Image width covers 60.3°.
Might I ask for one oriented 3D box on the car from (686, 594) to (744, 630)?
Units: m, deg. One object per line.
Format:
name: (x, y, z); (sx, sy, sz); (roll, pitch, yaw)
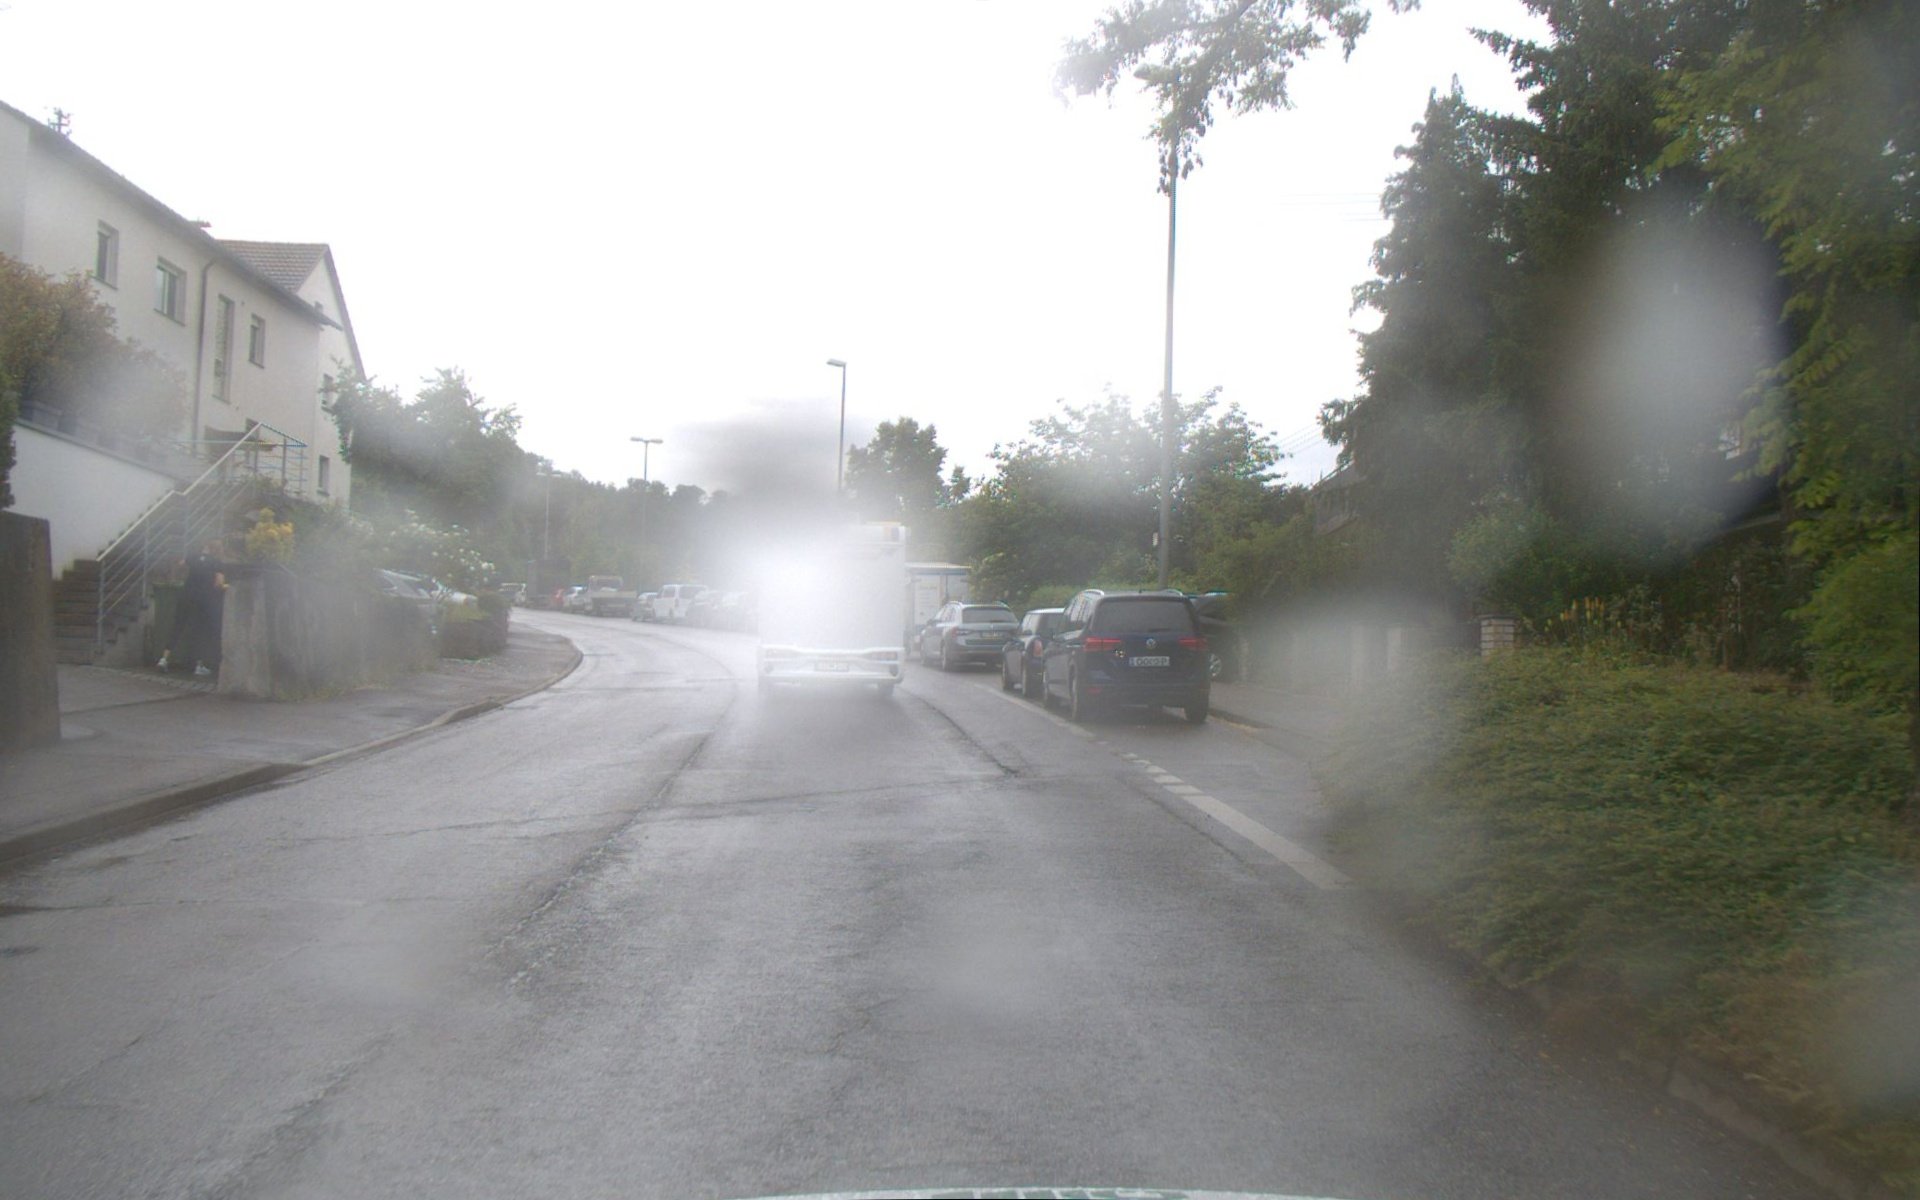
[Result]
car: (-11.090, 0.532, 74.629); (1.621, 1.567, 4.325); (1, 0, -22)

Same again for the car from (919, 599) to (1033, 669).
car: (0.292, 0.730, 37.364); (1.715, 1.449, 4.692); (1, 0, -10)

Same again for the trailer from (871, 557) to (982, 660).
trailer: (-0.967, 0.220, 43.579); (1.914, 2.499, 5.418); (1, 0, -12)

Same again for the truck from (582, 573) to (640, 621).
truck: (-20.478, -0.176, 96.825); (2.208, 2.677, 6.495); (1, 0, -22)

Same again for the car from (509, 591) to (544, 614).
car: (-32.882, 0.184, 125.324); (1.821, 1.713, 5.599); (1, 0, -23)

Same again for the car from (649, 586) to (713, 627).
car: (-13.542, 0.293, 80.063); (1.825, 1.915, 4.871); (1, 0, -25)

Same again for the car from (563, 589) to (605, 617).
car: (-23.437, 0.176, 102.965); (1.736, 1.632, 4.632); (1, 0, -23)

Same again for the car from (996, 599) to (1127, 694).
car: (1.650, 0.749, 27.973); (1.602, 1.482, 3.695); (1, 0, -6)

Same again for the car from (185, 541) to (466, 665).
car: (-11.801, 0.075, 31.056); (4.428, 1.641, 1.928); (8, -2, -9)

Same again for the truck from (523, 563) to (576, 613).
truck: (-29.147, -0.813, 117.193); (2.403, 3.394, 7.909); (1, 0, -23)

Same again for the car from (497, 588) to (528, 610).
car: (-35.755, -0.122, 132.091); (1.909, 1.701, 4.665); (1, 0, -21)

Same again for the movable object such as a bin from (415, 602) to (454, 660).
movable object such as a bin: (-10.653, 0.629, 33.523); (0.528, 1.094, 0.741); (7, -1, -10)

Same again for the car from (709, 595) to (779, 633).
car: (-9.067, 0.571, 69.250); (1.790, 1.533, 4.693); (1, 0, -22)

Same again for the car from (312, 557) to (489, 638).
car: (-15.561, -0.050, 46.163); (4.172, 1.455, 1.765); (10, -2, -3)

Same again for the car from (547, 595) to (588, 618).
car: (-26.282, 0.419, 110.661); (1.808, 1.463, 4.950); (1, 0, -24)

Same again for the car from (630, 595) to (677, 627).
car: (-15.785, 0.562, 85.003); (1.624, 1.590, 3.937); (1, 0, -21)

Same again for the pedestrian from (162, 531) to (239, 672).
pedestrian: (-9.254, 0.012, 20.164); (0.644, 1.677, 0.730); (2, 1, -11)

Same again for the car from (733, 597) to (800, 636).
car: (-7.570, 0.638, 64.406); (1.710, 1.439, 3.828); (1, 0, -21)

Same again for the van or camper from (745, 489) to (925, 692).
van or camper: (-2.219, -0.030, 27.650); (2.566, 2.903, 6.020); (3, -2, -7)

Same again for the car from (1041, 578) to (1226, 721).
car: (2.244, 0.625, 22.543); (1.793, 1.730, 4.457); (1, 0, -3)

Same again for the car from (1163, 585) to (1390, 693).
car: (6.153, 0.754, 32.415); (3.926, 1.717, 1.776); (5, -1, -5)
